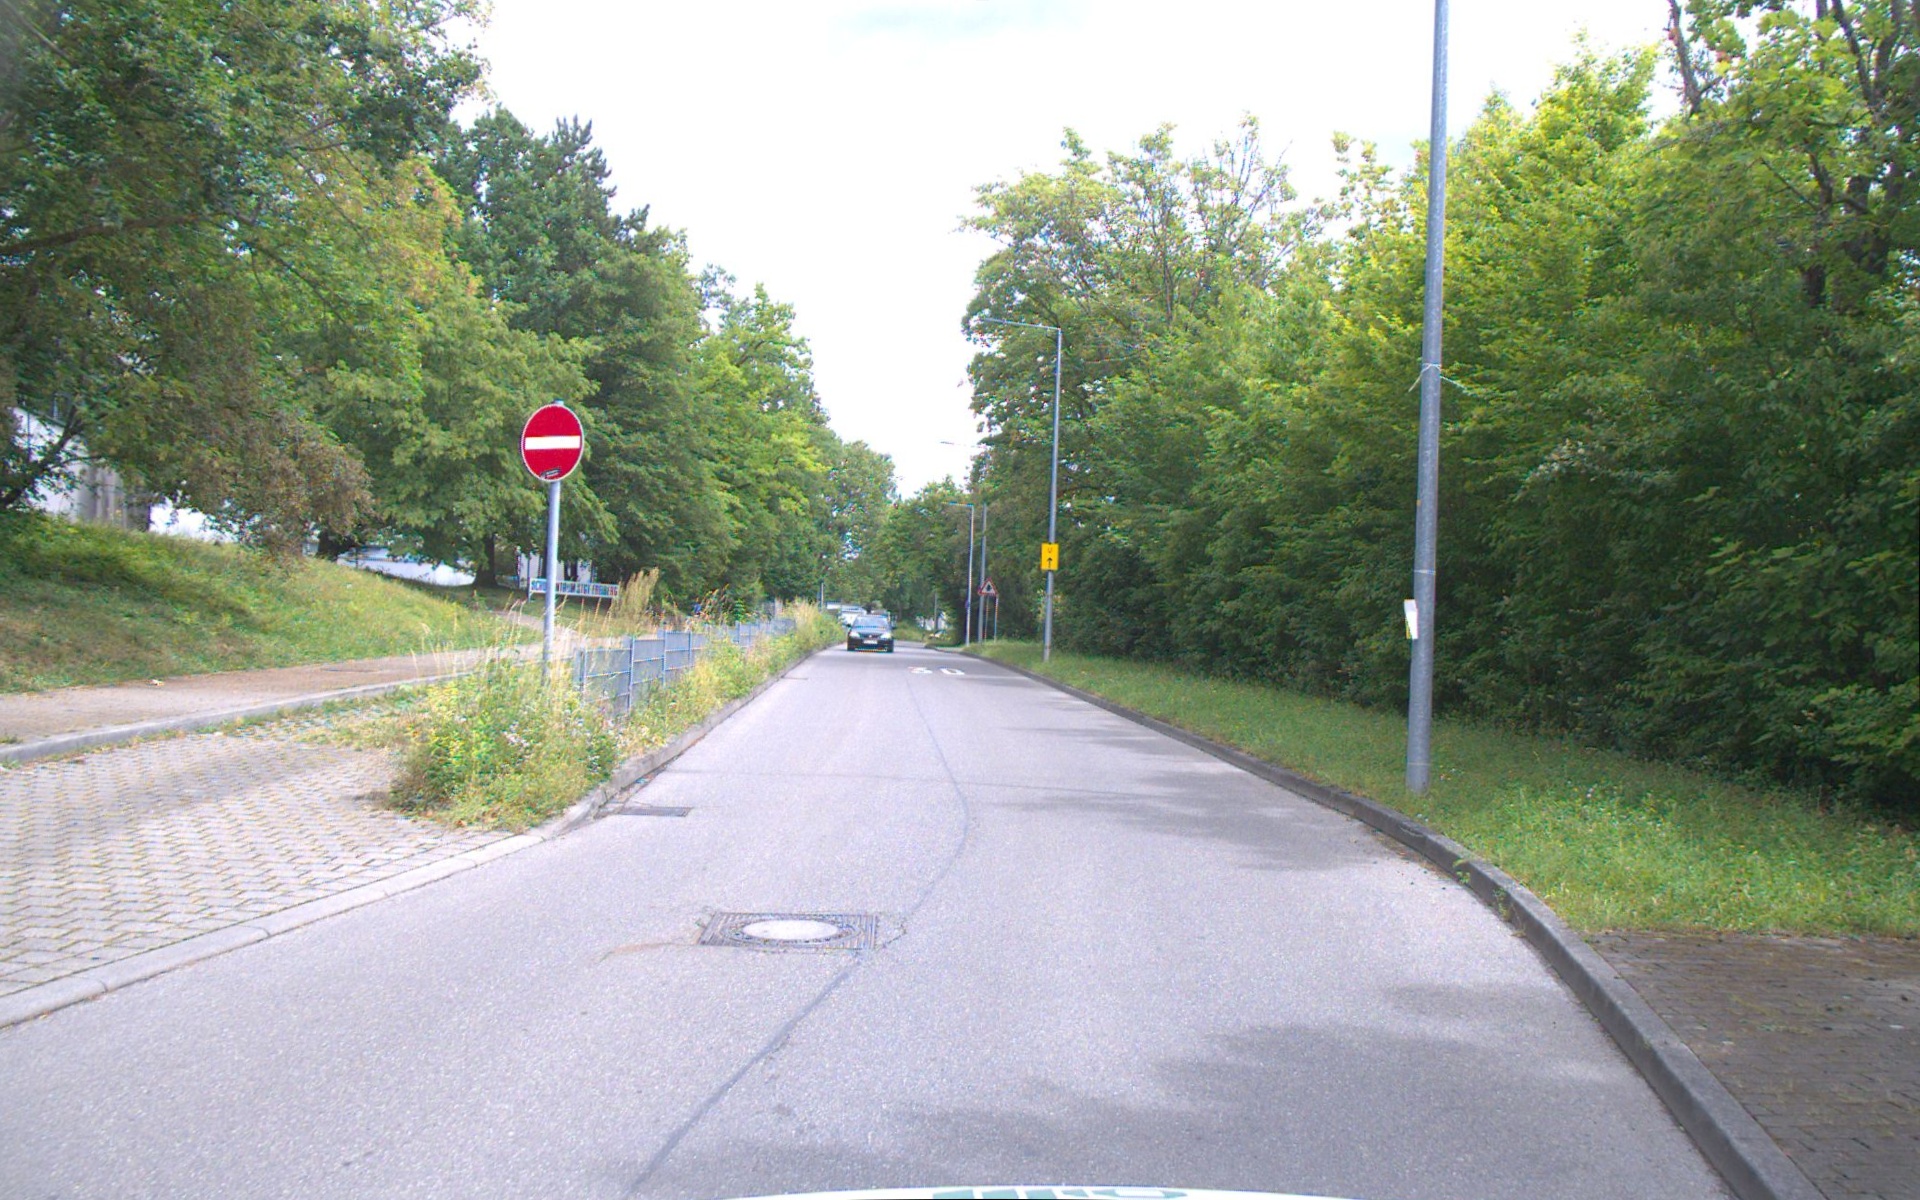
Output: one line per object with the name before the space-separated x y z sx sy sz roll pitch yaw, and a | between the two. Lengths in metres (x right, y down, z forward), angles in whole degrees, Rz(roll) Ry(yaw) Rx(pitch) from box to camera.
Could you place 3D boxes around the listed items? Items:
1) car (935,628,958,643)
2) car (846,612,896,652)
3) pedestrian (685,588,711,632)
car | -1.563 4.080 187.915 1.820 1.518 4.002 0 -3 12
car | -3.258 1.163 61.049 1.658 1.372 4.093 2 0 -1
pedestrian | -12.499 0.502 79.009 0.863 2.049 0.862 -3 -5 43
